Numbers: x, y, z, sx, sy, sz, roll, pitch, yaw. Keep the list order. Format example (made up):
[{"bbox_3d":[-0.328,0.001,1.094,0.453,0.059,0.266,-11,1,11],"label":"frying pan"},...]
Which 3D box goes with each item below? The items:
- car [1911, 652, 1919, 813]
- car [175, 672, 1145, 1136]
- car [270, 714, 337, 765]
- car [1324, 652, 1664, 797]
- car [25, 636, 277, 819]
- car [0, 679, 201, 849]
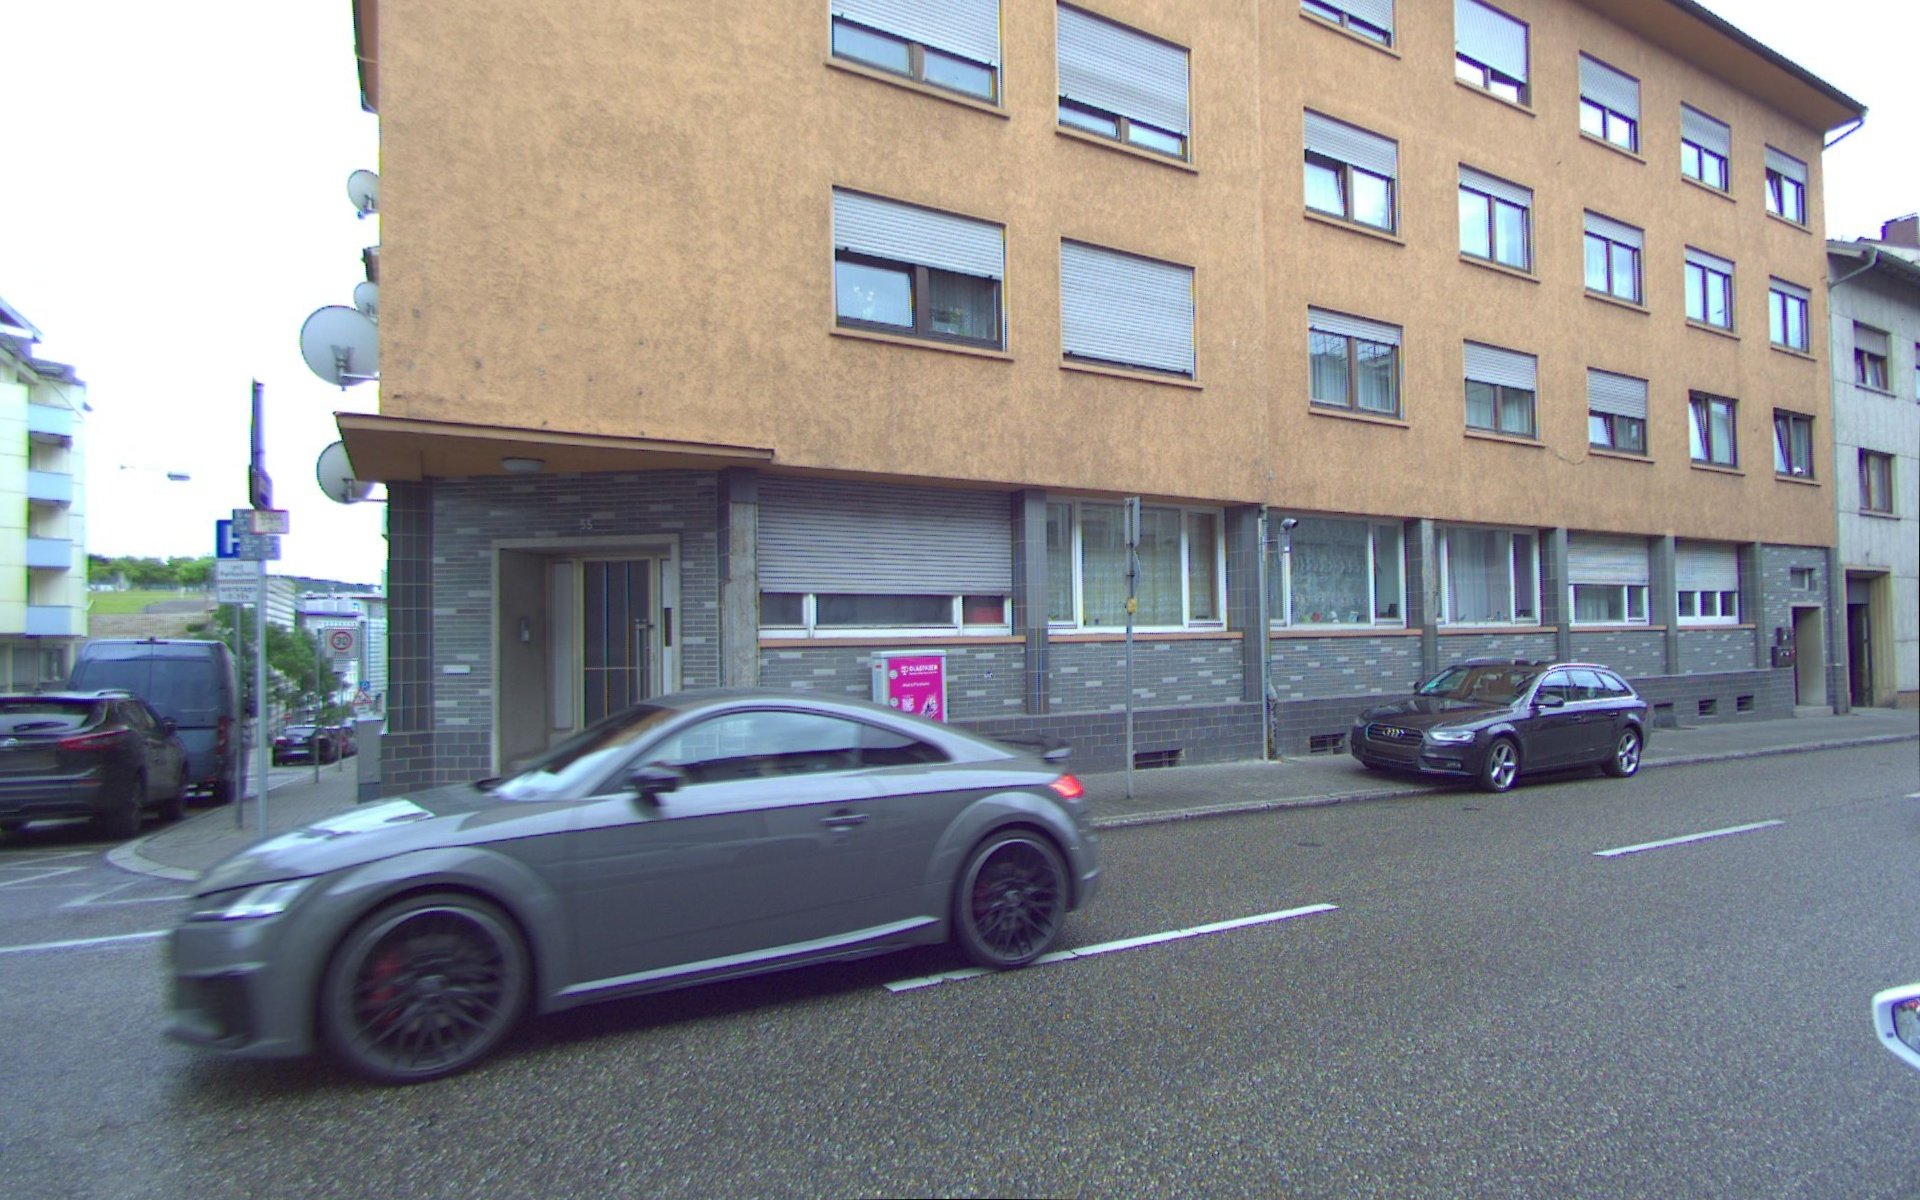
[{"bbox_3d":[10.485,1.158,8.980,4.288,1.408,1.717,1,-4,-30],"label":"car"},{"bbox_3d":[-1.186,1.087,4.864,3.842,1.363,1.760,1,-6,-30],"label":"car"},{"bbox_3d":[-24.435,5.194,37.507,1.796,1.696,4.026,1,-7,-29],"label":"car"},{"bbox_3d":[6.903,1.456,12.866,4.475,1.457,1.786,1,0,-31],"label":"car"},{"bbox_3d":[-13.220,2.095,16.924,2.223,2.492,6.017,1,-7,-29],"label":"car"},{"bbox_3d":[-10.149,1.832,11.416,1.820,1.596,4.127,1,-8,-29],"label":"car"}]
